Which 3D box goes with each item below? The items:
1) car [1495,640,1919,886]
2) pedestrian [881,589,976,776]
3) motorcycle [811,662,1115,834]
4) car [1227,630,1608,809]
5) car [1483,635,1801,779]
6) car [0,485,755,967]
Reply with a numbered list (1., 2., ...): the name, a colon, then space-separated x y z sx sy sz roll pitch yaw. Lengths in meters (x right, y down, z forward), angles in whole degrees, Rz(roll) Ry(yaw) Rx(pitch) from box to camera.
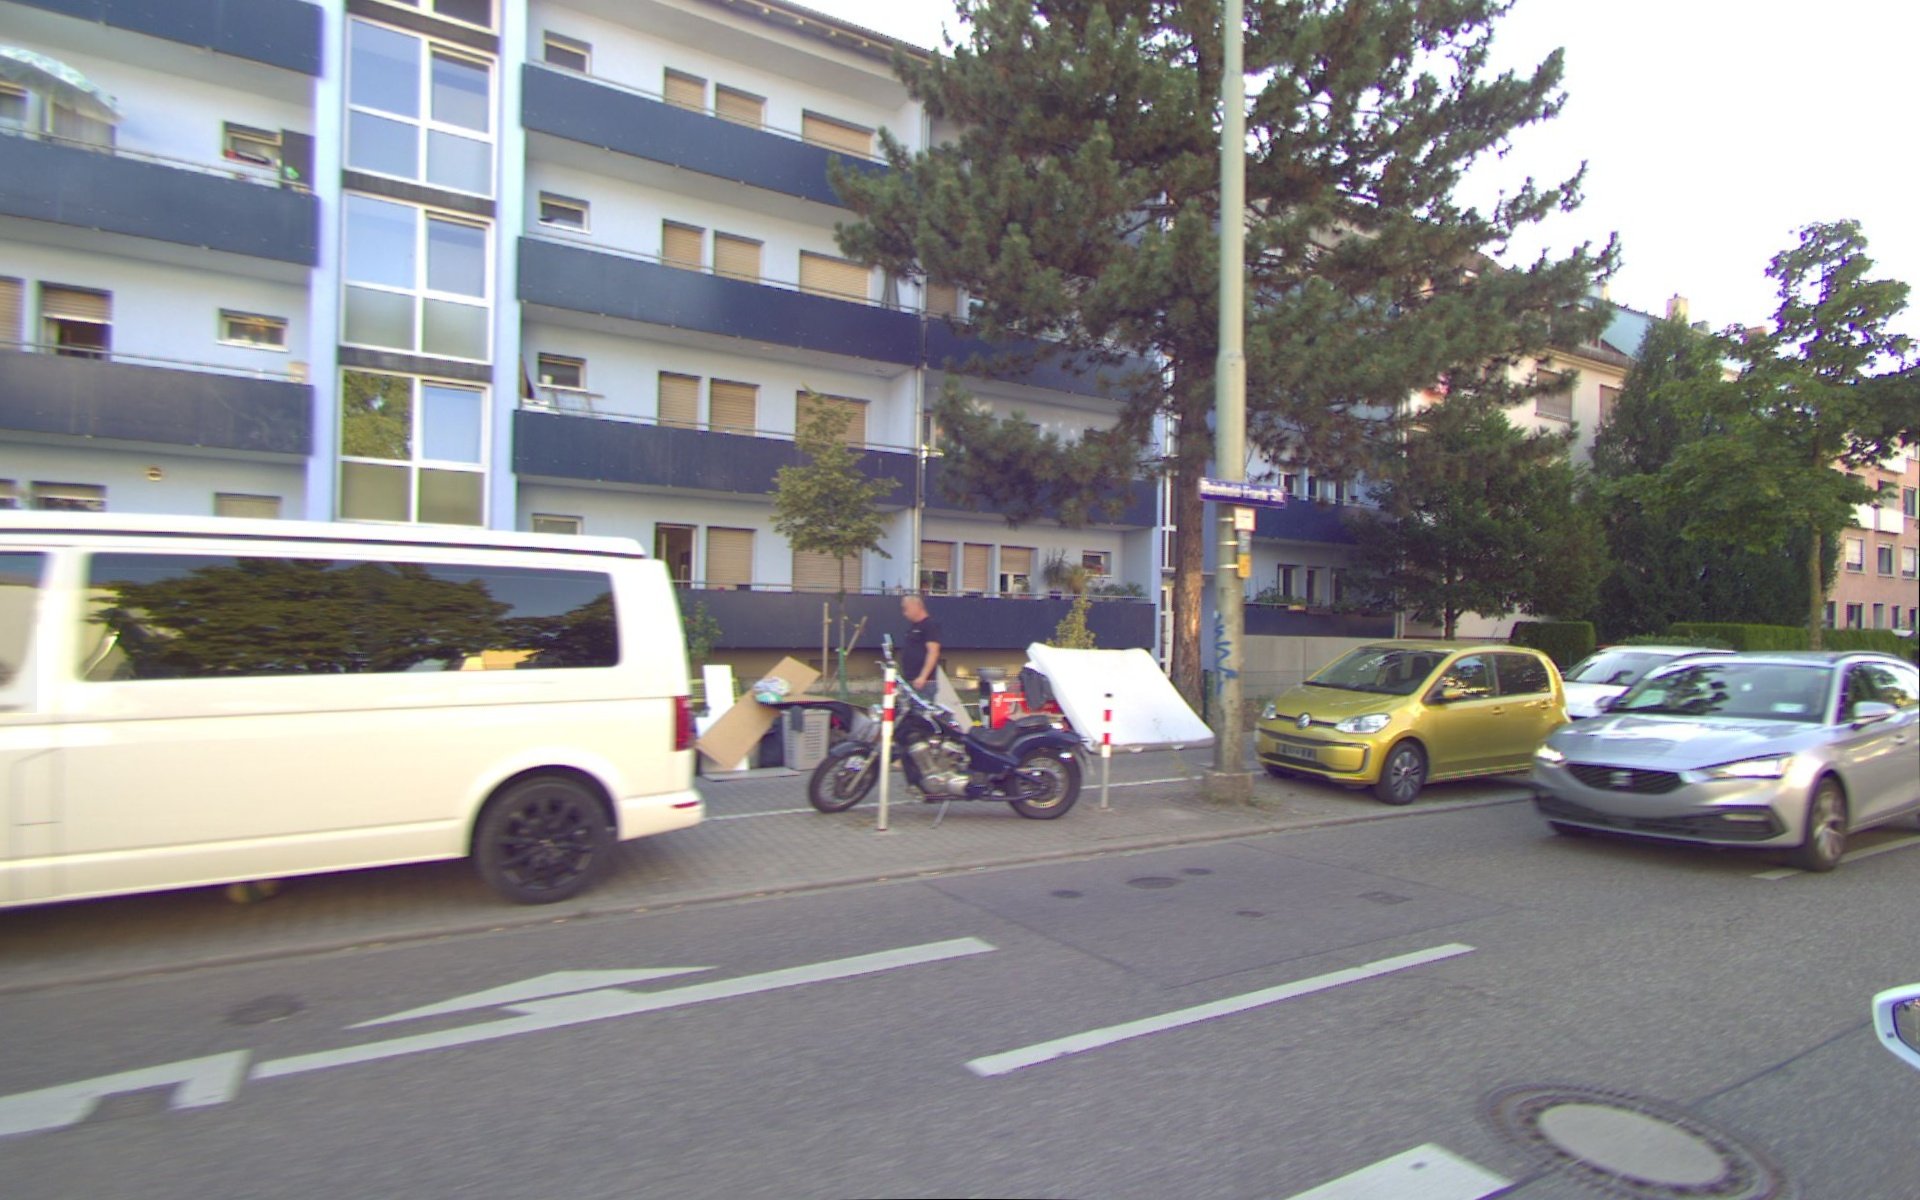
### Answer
1. car: 6.356 1.102 8.007 4.260 1.498 1.731 2 -4 -31
2. pedestrian: -0.320 0.804 10.090 0.687 1.794 0.658 2 -1 -31
3. motorcycle: 0.003 1.107 7.823 2.290 1.220 0.660 1 -1 -10
4. car: 4.791 1.122 10.441 3.824 1.500 1.612 2 0 -29
5. car: 8.810 1.276 12.936 3.922 1.514 1.773 2 0 -29
6. car: -3.957 0.552 5.453 5.241 2.058 1.859 2 0 -31
